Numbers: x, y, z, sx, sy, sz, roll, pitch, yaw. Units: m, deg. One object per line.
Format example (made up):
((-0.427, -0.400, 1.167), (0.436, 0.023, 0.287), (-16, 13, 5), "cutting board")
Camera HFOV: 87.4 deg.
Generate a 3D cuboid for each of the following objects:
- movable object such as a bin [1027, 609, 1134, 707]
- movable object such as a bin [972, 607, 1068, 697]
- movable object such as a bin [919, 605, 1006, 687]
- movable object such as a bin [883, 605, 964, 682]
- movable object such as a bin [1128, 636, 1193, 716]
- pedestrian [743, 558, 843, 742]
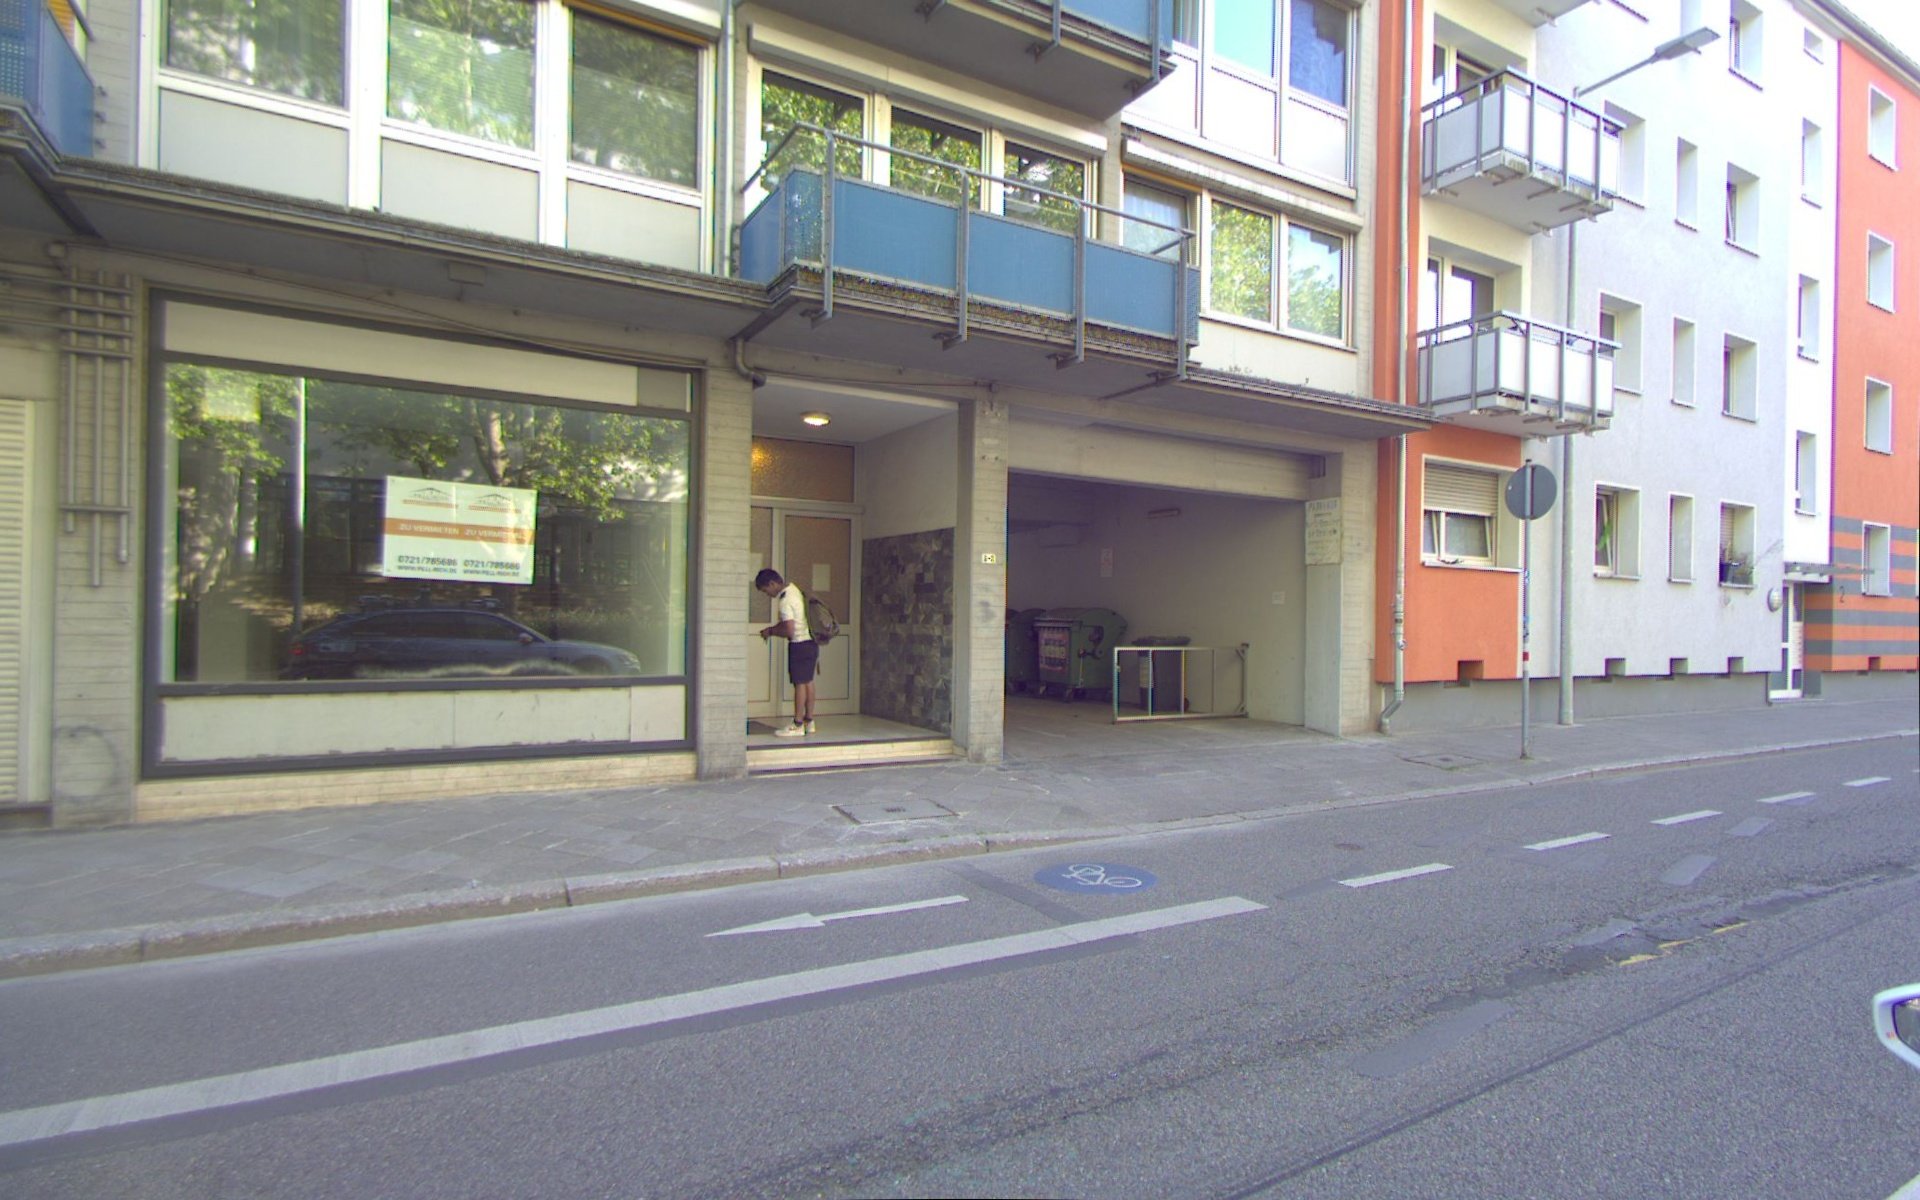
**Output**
((1.881, 0.883, 15.816), (1.120, 1.444, 1.268), (2, 0, -28), "movable object such as a bin")
((1.014, 0.864, 17.157), (1.120, 1.444, 1.268), (2, 0, -28), "movable object such as a bin")
((0.033, 0.842, 18.700), (1.120, 1.444, 1.268), (2, 0, -28), "movable object such as a bin")
((-0.736, 0.846, 19.793), (1.120, 1.444, 1.268), (2, 0, -28), "movable object such as a bin")
((2.893, 1.082, 14.492), (0.713, 1.094, 0.533), (2, 0, -29), "movable object such as a bin")
((-1.553, 0.457, 9.462), (0.821, 1.639, 0.793), (2, 0, -4), "pedestrian")
